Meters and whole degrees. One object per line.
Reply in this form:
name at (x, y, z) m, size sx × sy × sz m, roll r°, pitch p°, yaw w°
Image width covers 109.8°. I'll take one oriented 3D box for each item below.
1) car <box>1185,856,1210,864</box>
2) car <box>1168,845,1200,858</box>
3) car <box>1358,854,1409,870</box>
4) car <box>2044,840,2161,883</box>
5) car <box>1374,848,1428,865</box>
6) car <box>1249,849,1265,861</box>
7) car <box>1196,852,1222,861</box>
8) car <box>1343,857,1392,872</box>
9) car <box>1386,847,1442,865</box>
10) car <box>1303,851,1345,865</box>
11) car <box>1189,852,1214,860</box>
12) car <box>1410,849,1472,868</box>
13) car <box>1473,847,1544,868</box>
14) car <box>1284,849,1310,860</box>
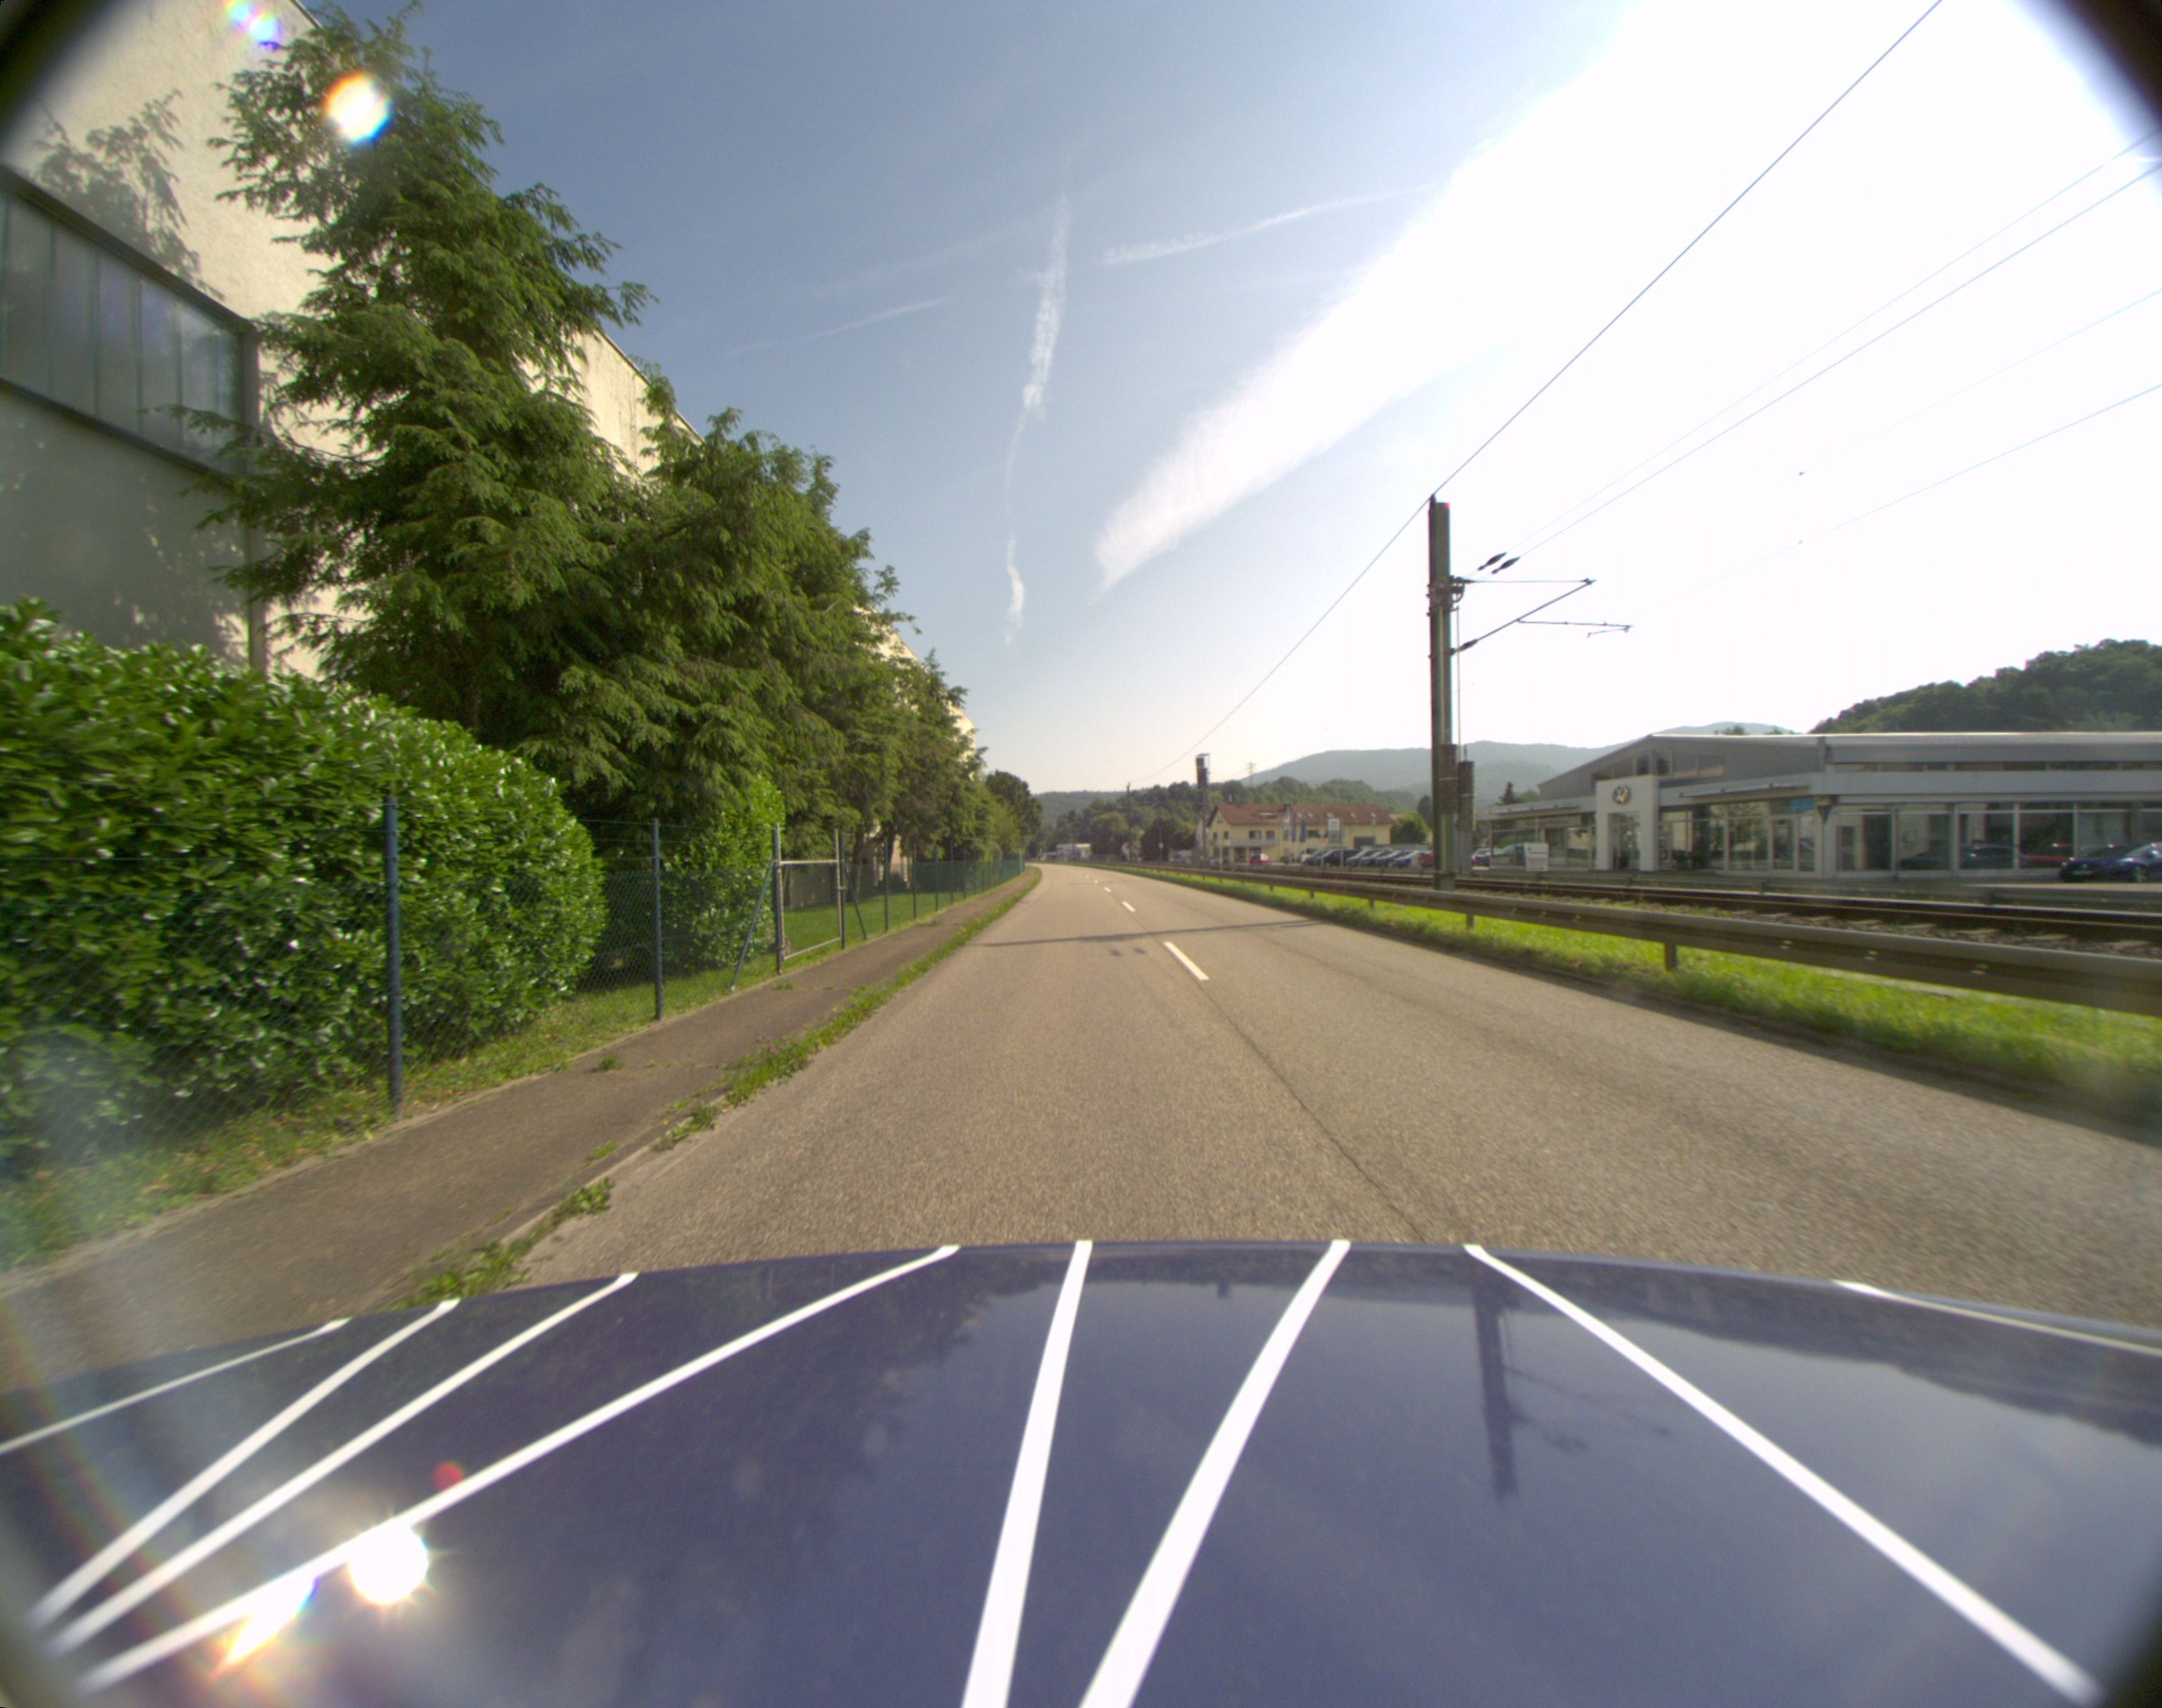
car at (20.008, 1.010, 130.455) m, size 3.858 × 1.292 × 1.647 m, roll -1°, pitch 0°, yaw -7°
car at (19.486, -0.414, 143.793) m, size 5.588 × 2.403 × 2.235 m, roll -1°, pitch 0°, yaw -5°
car at (27.743, 0.718, 69.842) m, size 3.998 × 1.451 × 1.760 m, roll -1°, pitch 0°, yaw -2°
car at (36.686, 0.245, 26.647) m, size 3.998 × 1.412 × 1.619 m, roll -1°, pitch 0°, yaw -4°
car at (27.984, 0.212, 66.603) m, size 3.998 × 1.451 × 1.760 m, roll -1°, pitch 0°, yaw -2°
car at (21.904, 0.085, 94.757) m, size 1.858 × 1.451 × 4.003 m, roll -1°, pitch 0°, yaw 11°
car at (21.067, 0.413, 124.899) m, size 3.858 × 1.292 × 1.647 m, roll -1°, pitch 0°, yaw -7°
car at (27.674, 1.000, 73.444) m, size 3.998 × 1.451 × 1.760 m, roll -1°, pitch 0°, yaw -2°
car at (27.687, 0.163, 63.286) m, size 4.001 × 1.451 × 1.759 m, roll -1°, pitch 0°, yaw -13°
car at (26.199, 0.440, 82.012) m, size 3.998 × 1.451 × 1.760 m, roll -1°, pitch 0°, yaw -2°
car at (20.291, 0.350, 127.929) m, size 3.858 × 1.292 × 1.647 m, roll -1°, pitch 0°, yaw -7°
car at (27.920, 0.352, 59.015) m, size 3.999 × 1.367 × 1.860 m, roll -1°, pitch 0°, yaw -7°
car at (30.029, 0.237, 53.446) m, size 3.998 × 1.451 × 1.861 m, roll -1°, pitch 0°, yaw -2°
car at (30.685, 0.068, 107.919) m, size 3.540 × 1.566 × 1.651 m, roll -1°, pitch 0°, yaw 18°
